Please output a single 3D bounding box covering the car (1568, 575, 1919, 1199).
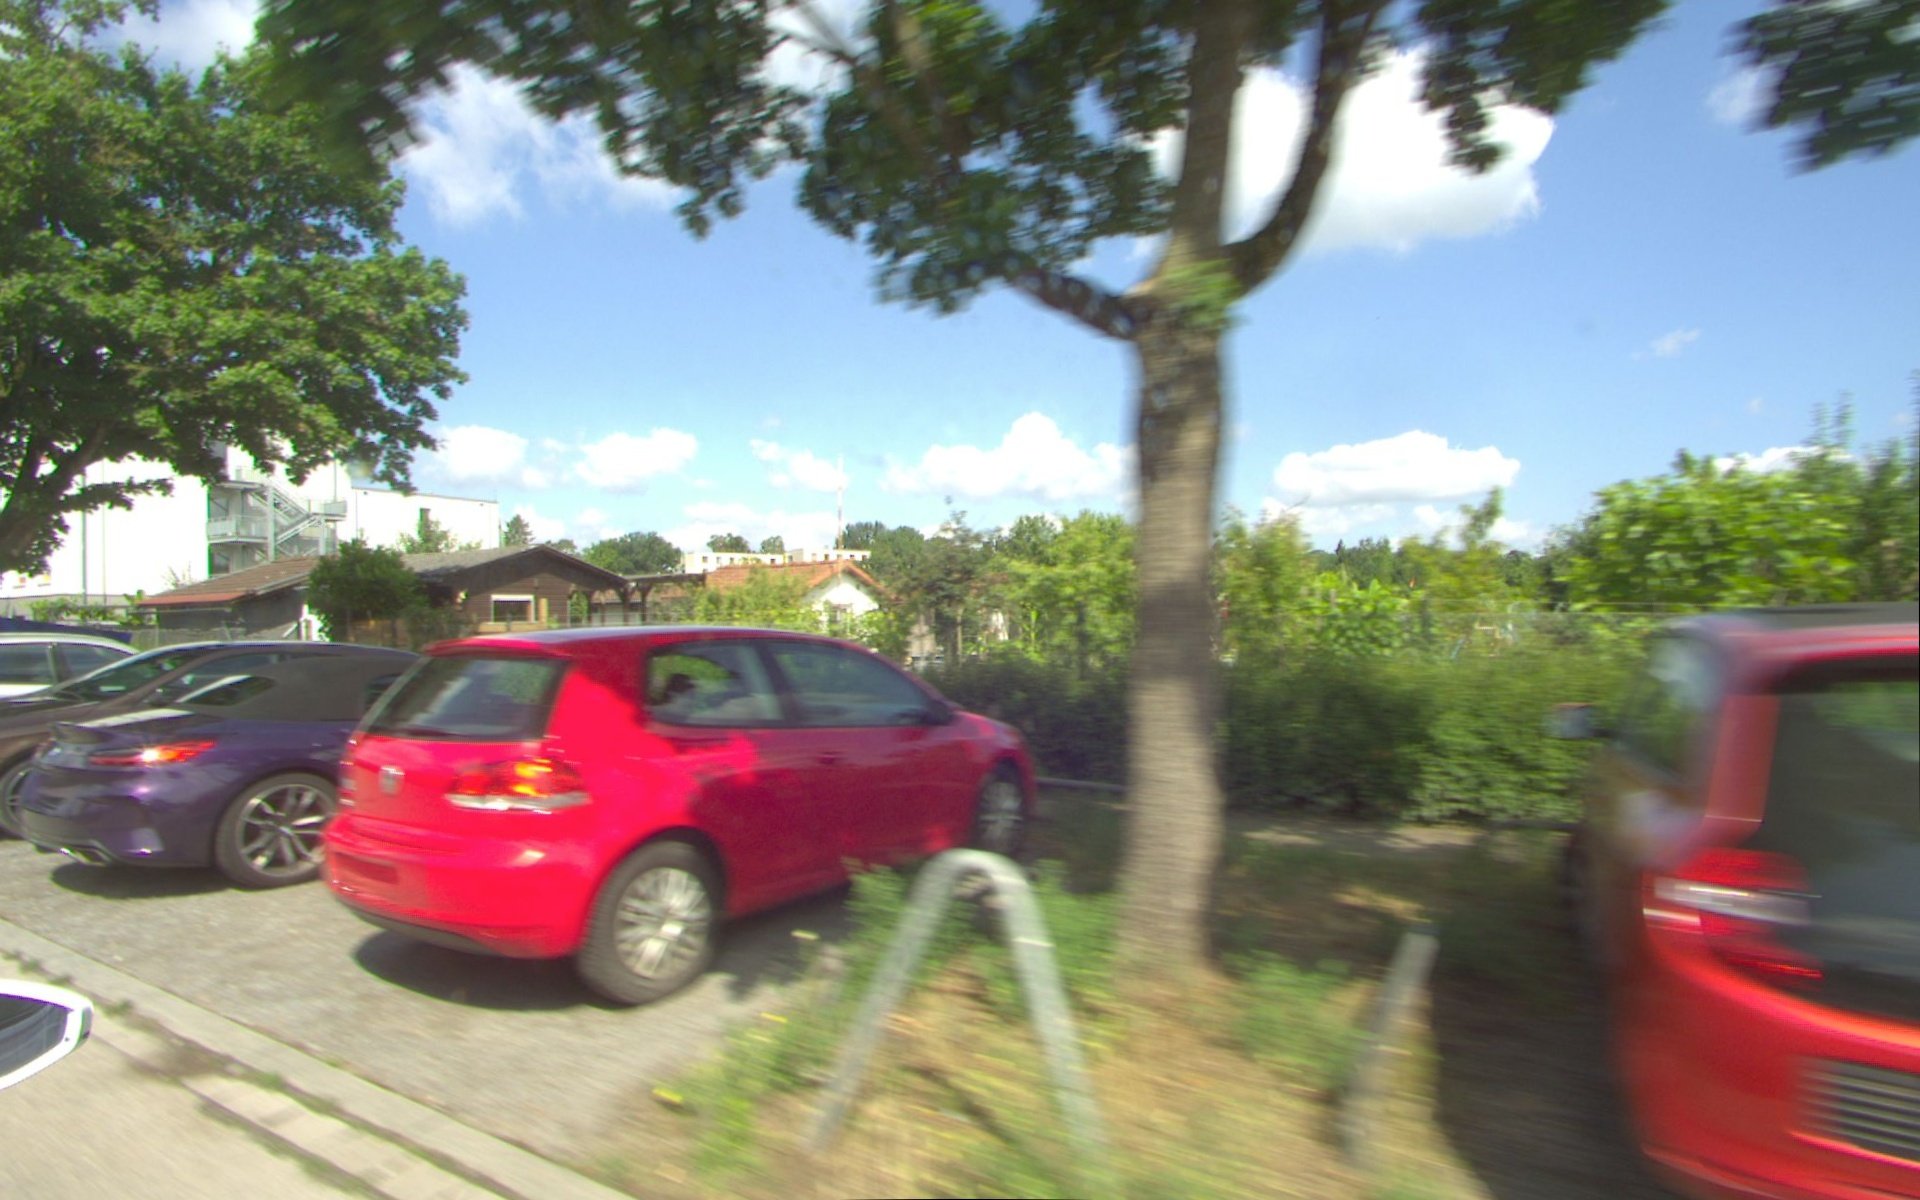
[{"bbox_3d":[3.036,0.821,3.186,1.842,1.593,3.760,-1,-3,31],"label":"car"}]

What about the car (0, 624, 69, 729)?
[{"bbox_3d":[-15.660,1.116,14.497,1.821,1.559,3.722,-1,-3,29],"label":"car"}]

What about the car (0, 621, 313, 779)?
[{"bbox_3d":[-9.694,1.024,10.874,1.931,1.530,4.055,-1,-3,34],"label":"car"}]

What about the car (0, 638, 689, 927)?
[{"bbox_3d":[-4.125,1.012,7.185,1.931,1.441,3.901,-1,-3,34],"label":"car"}]

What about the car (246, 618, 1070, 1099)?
[{"bbox_3d":[-1.165,0.929,5.387,1.830,1.538,3.977,-1,-3,35],"label":"car"}]

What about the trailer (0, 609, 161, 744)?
[{"bbox_3d":[-12.792,1.007,13.728,1.494,1.742,2.449,0,-2,28],"label":"trailer"}]

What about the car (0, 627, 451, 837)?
[{"bbox_3d":[-6.874,1.006,8.675,1.842,1.473,4.063,-1,-3,29],"label":"car"}]

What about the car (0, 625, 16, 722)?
[{"bbox_3d":[-17.947,1.172,15.638,1.971,1.613,4.297,-1,-3,31],"label":"car"}]
